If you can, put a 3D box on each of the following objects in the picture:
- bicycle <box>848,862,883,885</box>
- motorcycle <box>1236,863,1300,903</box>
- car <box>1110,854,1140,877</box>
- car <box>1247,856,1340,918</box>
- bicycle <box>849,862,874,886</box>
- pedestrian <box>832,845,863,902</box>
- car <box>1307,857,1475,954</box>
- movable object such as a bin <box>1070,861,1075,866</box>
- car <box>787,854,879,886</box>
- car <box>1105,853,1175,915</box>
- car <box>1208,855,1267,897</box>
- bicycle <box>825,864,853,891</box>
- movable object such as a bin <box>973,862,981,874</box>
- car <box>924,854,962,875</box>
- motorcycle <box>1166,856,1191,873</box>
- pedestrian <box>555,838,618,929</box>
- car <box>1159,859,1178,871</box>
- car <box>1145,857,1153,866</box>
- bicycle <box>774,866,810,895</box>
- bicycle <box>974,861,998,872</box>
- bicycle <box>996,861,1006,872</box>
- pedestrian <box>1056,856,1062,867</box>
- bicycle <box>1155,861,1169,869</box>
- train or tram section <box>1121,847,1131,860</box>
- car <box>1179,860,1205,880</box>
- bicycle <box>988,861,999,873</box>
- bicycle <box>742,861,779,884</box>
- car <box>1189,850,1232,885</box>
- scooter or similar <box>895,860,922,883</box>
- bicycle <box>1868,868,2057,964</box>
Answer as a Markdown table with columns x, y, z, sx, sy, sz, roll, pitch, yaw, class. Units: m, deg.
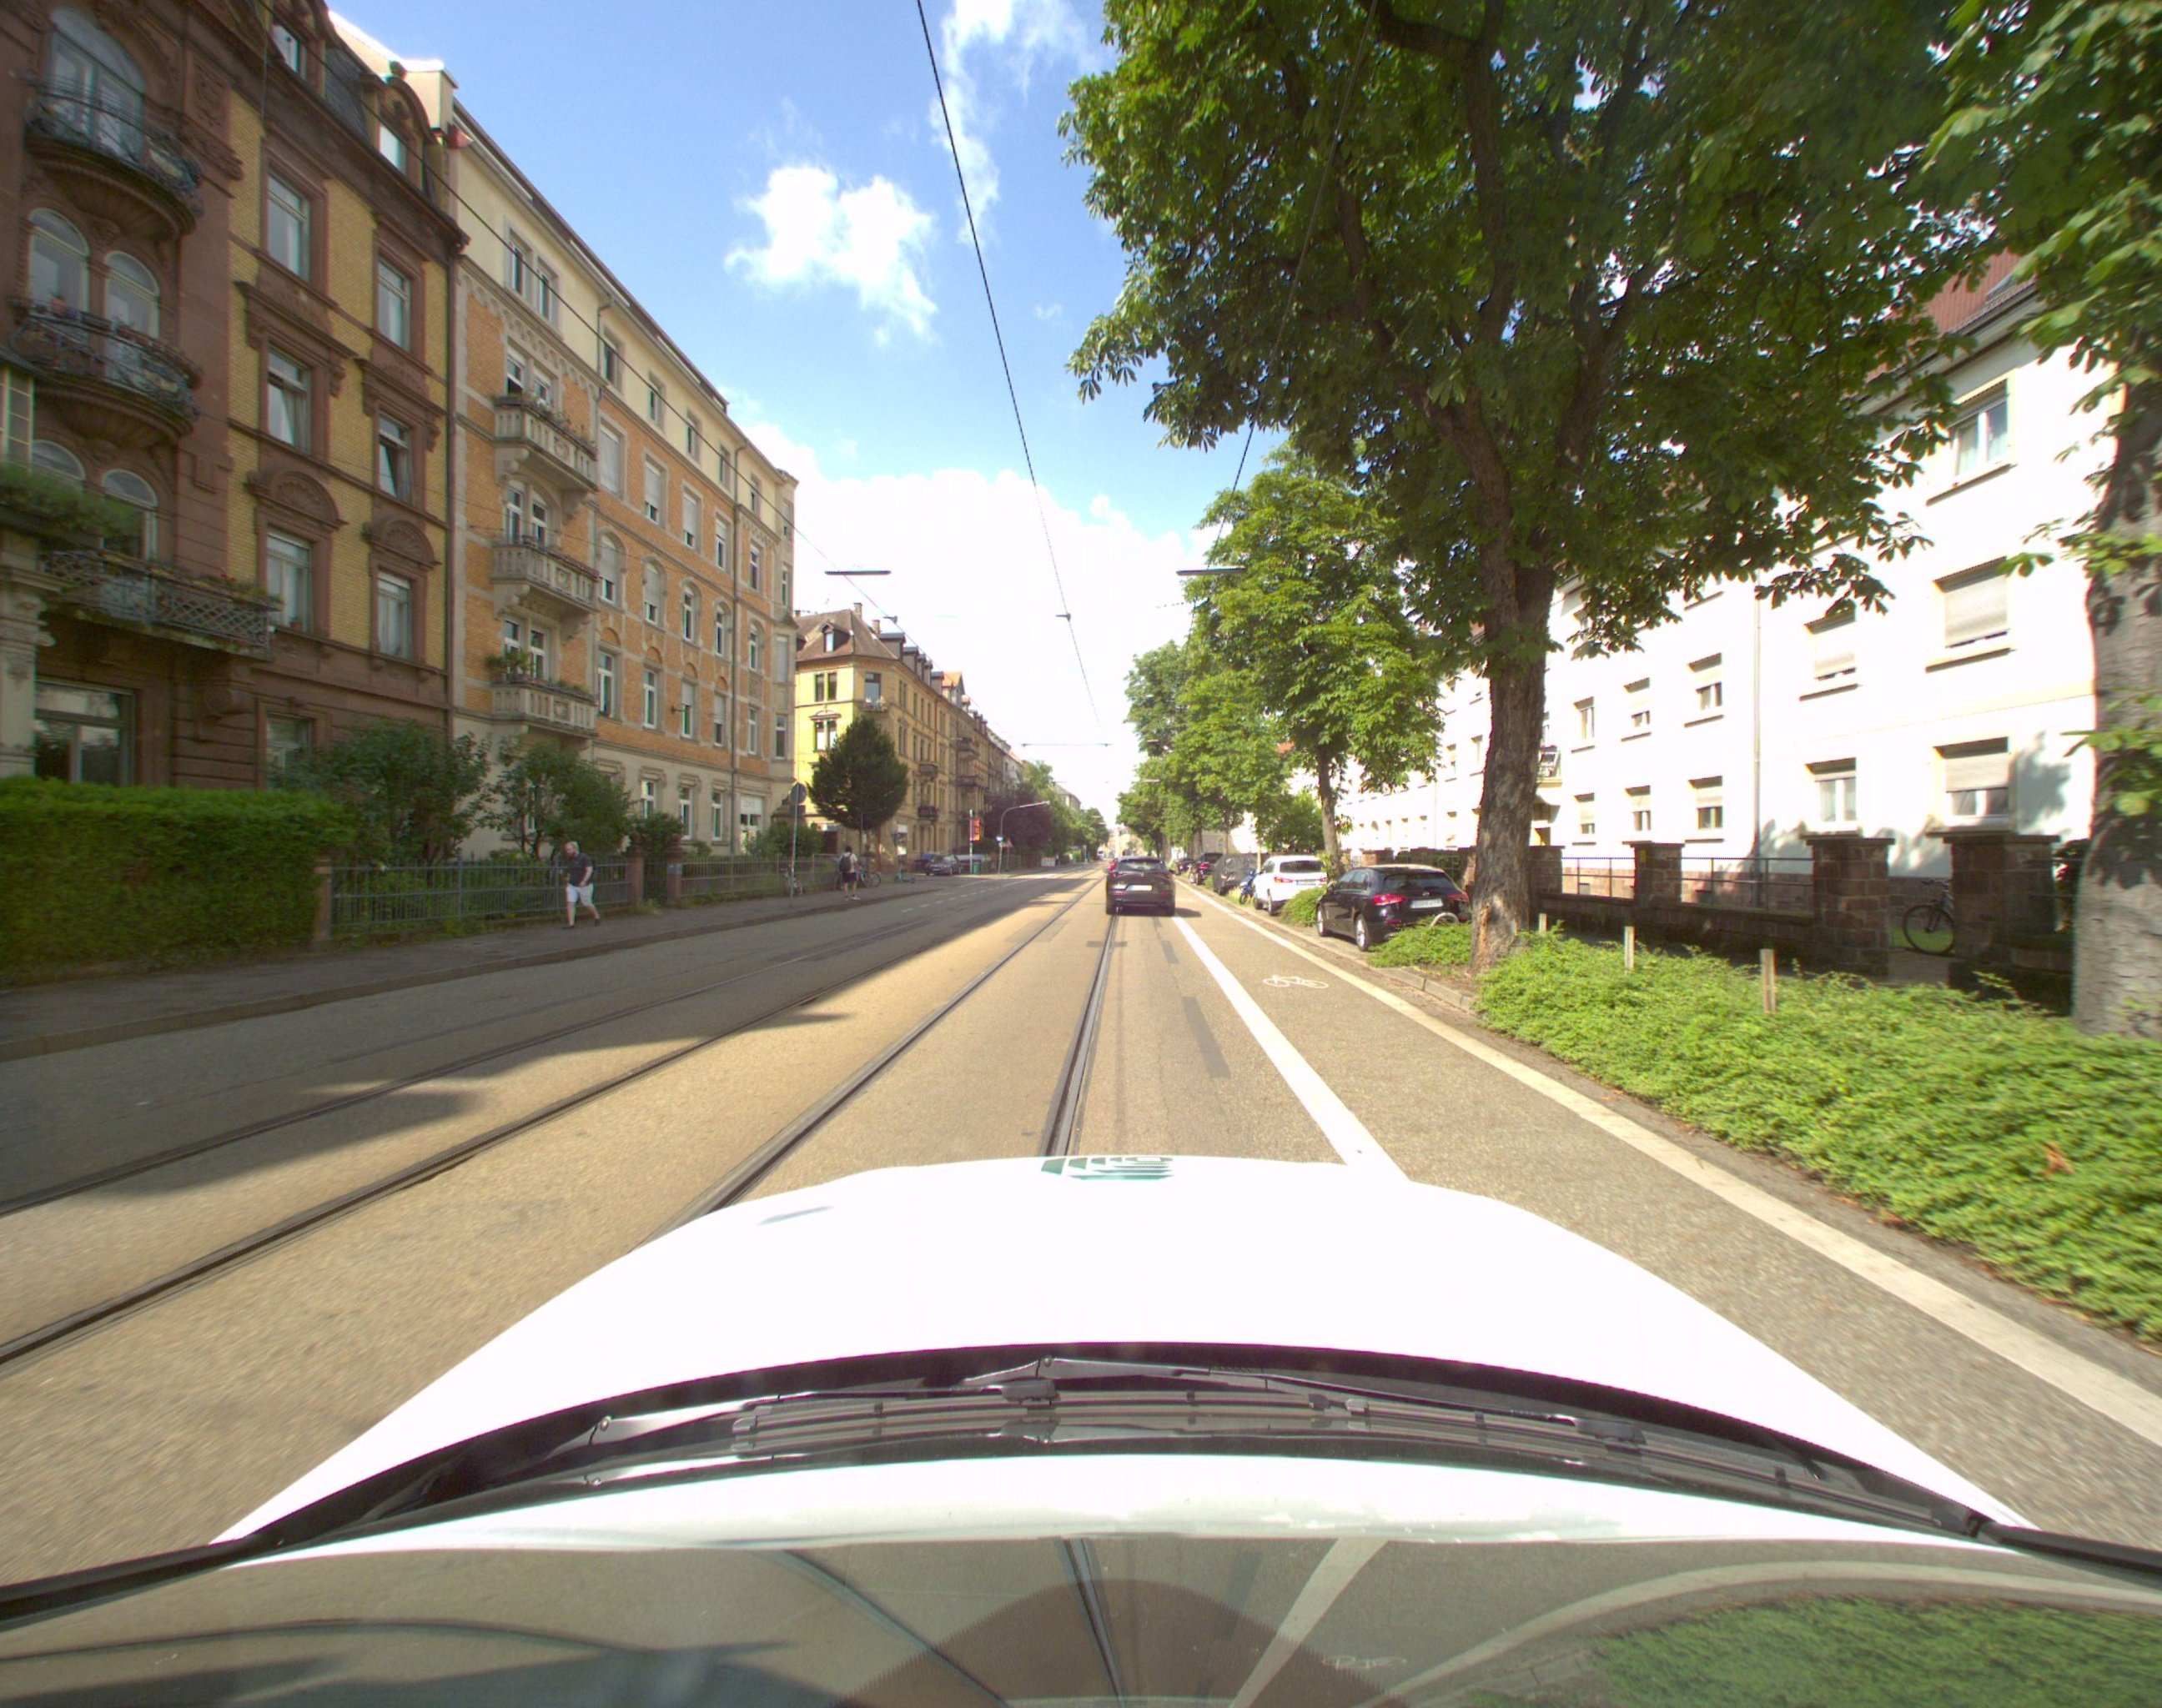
| x | y | z | sx | sy | sz | roll | pitch | yaw | class |
| --- | --- | --- | --- | --- | --- | --- | --- | --- | --- |
| -9.486 | 0.858 | 35.827 | 1.446 | 0.976 | 0.404 | 0 | 0 | 3 | bicycle |
| 6.371 | 0.978 | 27.823 | 2.000 | 1.337 | 0.747 | 0 | -1 | -1 | motorcycle |
| 3.165 | 0.814 | 58.233 | 1.985 | 1.529 | 4.003 | 2 | 0 | 3 | car |
| 5.945 | 0.869 | 23.245 | 1.735 | 1.581 | 4.251 | 0 | 0 | 3 | car |
| -9.306 | 0.828 | 34.538 | 0.419 | 0.976 | 1.951 | 0 | 0 | 3 | bicycle |
| -7.495 | 0.608 | 26.167 | 0.531 | 1.760 | 1.106 | 2 | 0 | 3 | pedestrian |
| 5.500 | 0.821 | 15.042 | 1.654 | 1.521 | 4.290 | 0 | 0 | 3 | car |
| -1.610 | 1.764 | 150.493 | 0.742 | 0.988 | 1.115 | 2 | -1 | 3 | movable object such as a bin |
| -11.355 | 0.714 | 37.439 | 3.584 | 1.403 | 1.790 | 1 | 0 | 7 | car |
| 1.558 | 0.761 | 21.927 | 1.713 | 1.526 | 3.592 | 0 | 0 | 3 | car |
| 6.526 | 0.869 | 34.497 | 1.855 | 1.653 | 4.641 | 0 | 0 | 3 | car |
| -9.385 | 0.894 | 31.627 | 0.419 | 0.976 | 1.951 | 0 | 0 | 3 | bicycle |
| -7.908 | 1.059 | 61.788 | 0.523 | 0.906 | 0.636 | 0 | -1 | 2 | movable object such as a bin |
| -10.023 | 0.767 | 59.431 | 1.678 | 1.459 | 4.769 | 0 | 0 | 3 | car |
| 9.492 | 0.989 | 79.426 | 2.357 | 1.597 | 0.683 | 2 | 1 | 42 | motorcycle |
| -9.616 | 0.561 | 15.874 | 0.486 | 1.703 | 1.151 | 0 | 0 | 1 | pedestrian |
| 10.946 | 1.378 | 102.061 | 1.840 | 1.409 | 4.394 | -2 | -1 | 0 | car |
| 14.912 | 1.701 | 178.174 | 1.713 | 1.968 | 4.212 | 0 | 0 | 4 | car |
| -9.674 | 0.876 | 27.332 | 0.419 | 0.932 | 1.951 | 0 | 0 | 3 | bicycle |
| -7.954 | 1.043 | 68.305 | 1.956 | 0.946 | 0.531 | 0 | -1 | -2 | bicycle |
| -6.869 | 1.076 | 69.799 | 0.528 | 0.946 | 1.969 | 0 | 0 | 3 | bicycle |
| -3.196 | 1.084 | 117.757 | 0.820 | 1.706 | 0.891 | 0 | -1 | 0 | pedestrian |
| 11.474 | 1.572 | 115.008 | 1.923 | 1.176 | 0.515 | -1 | -2 | 15 | bicycle |
| 13.845 | -0.144 | 252.629 | 2.562 | 3.772 | 13.028 | 0 | 0 | 1 | train or tram section |
| 8.644 | 1.214 | 63.776 | 1.699 | 1.479 | 4.200 | 2 | 0 | 3 | car |
| -7.061 | 1.021 | 65.880 | 0.528 | 0.946 | 1.969 | 0 | 0 | 3 | bicycle |
| -14.112 | 0.818 | 35.876 | 1.446 | 0.976 | 0.404 | 0 | 0 | 3 | bicycle |
| 6.953 | 0.688 | 44.151 | 1.819 | 1.782 | 4.737 | 0 | 0 | 3 | car |
| -9.458 | 0.968 | 44.603 | 1.368 | 1.235 | 0.401 | 1 | -1 | -26 | scooter or similar |
| 11.563 | 0.773 | 10.781 | 0.622 | 1.135 | 1.802 | 0 | 0 | 3 | bicycle |
